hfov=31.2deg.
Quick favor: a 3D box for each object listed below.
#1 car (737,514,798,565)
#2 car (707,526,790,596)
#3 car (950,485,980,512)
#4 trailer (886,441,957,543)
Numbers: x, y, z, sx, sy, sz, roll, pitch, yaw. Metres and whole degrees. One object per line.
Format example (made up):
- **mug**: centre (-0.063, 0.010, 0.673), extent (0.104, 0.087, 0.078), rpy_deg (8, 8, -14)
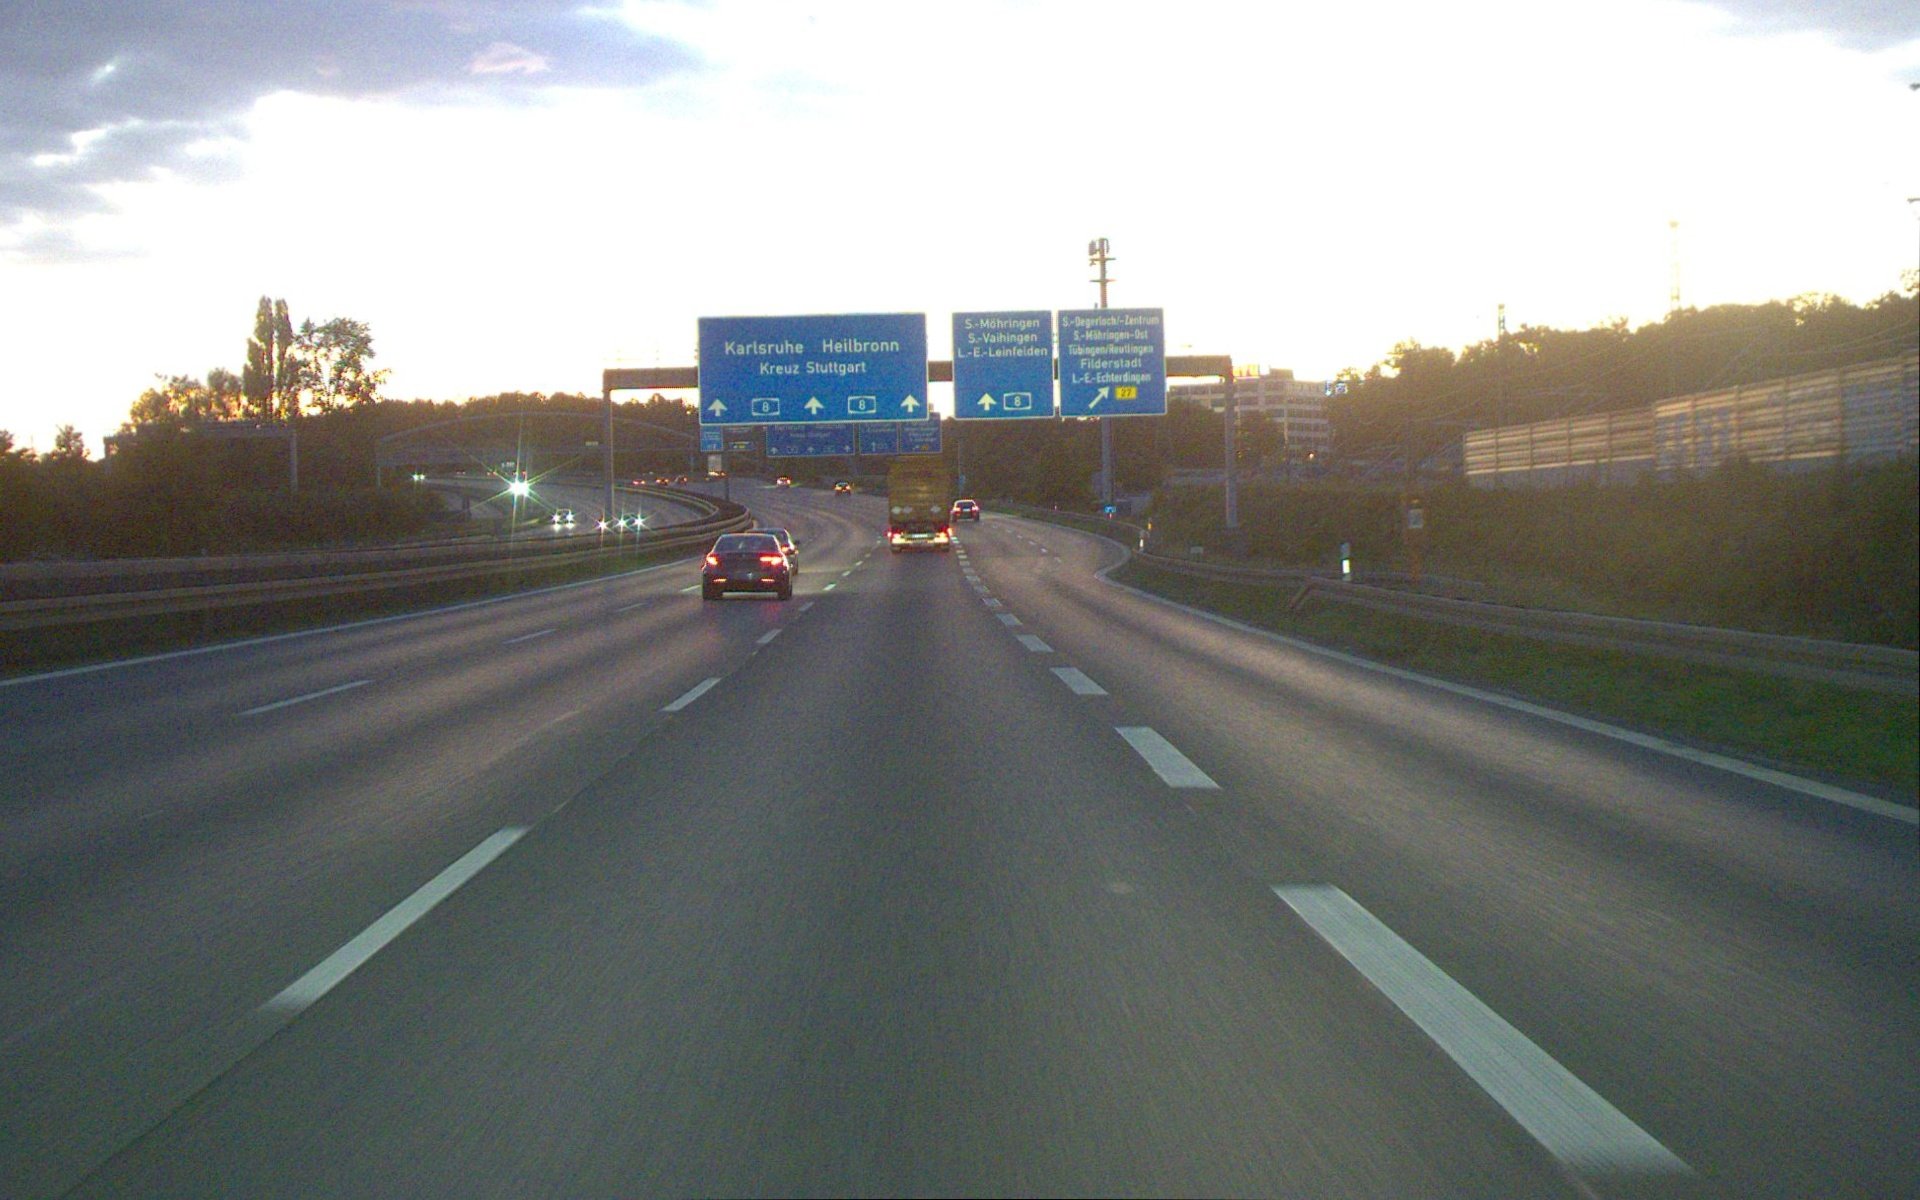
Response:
- **car**: centre (-5.746, -1.814, 102.905), extent (1.689, 1.396, 3.409), rpy_deg (-4, 1, -2)
- **car**: centre (-4.640, -0.865, 74.979), extent (1.689, 1.396, 3.409), rpy_deg (-3, 2, -4)
- **car**: centre (0.339, -7.194, 244.367), extent (1.993, 1.842, 4.000), rpy_deg (1, 1, -2)
- **trailer**: centre (-1.670, -4.664, 146.421), extent (2.722, 4.057, 8.833), rpy_deg (-3, 3, -1)
